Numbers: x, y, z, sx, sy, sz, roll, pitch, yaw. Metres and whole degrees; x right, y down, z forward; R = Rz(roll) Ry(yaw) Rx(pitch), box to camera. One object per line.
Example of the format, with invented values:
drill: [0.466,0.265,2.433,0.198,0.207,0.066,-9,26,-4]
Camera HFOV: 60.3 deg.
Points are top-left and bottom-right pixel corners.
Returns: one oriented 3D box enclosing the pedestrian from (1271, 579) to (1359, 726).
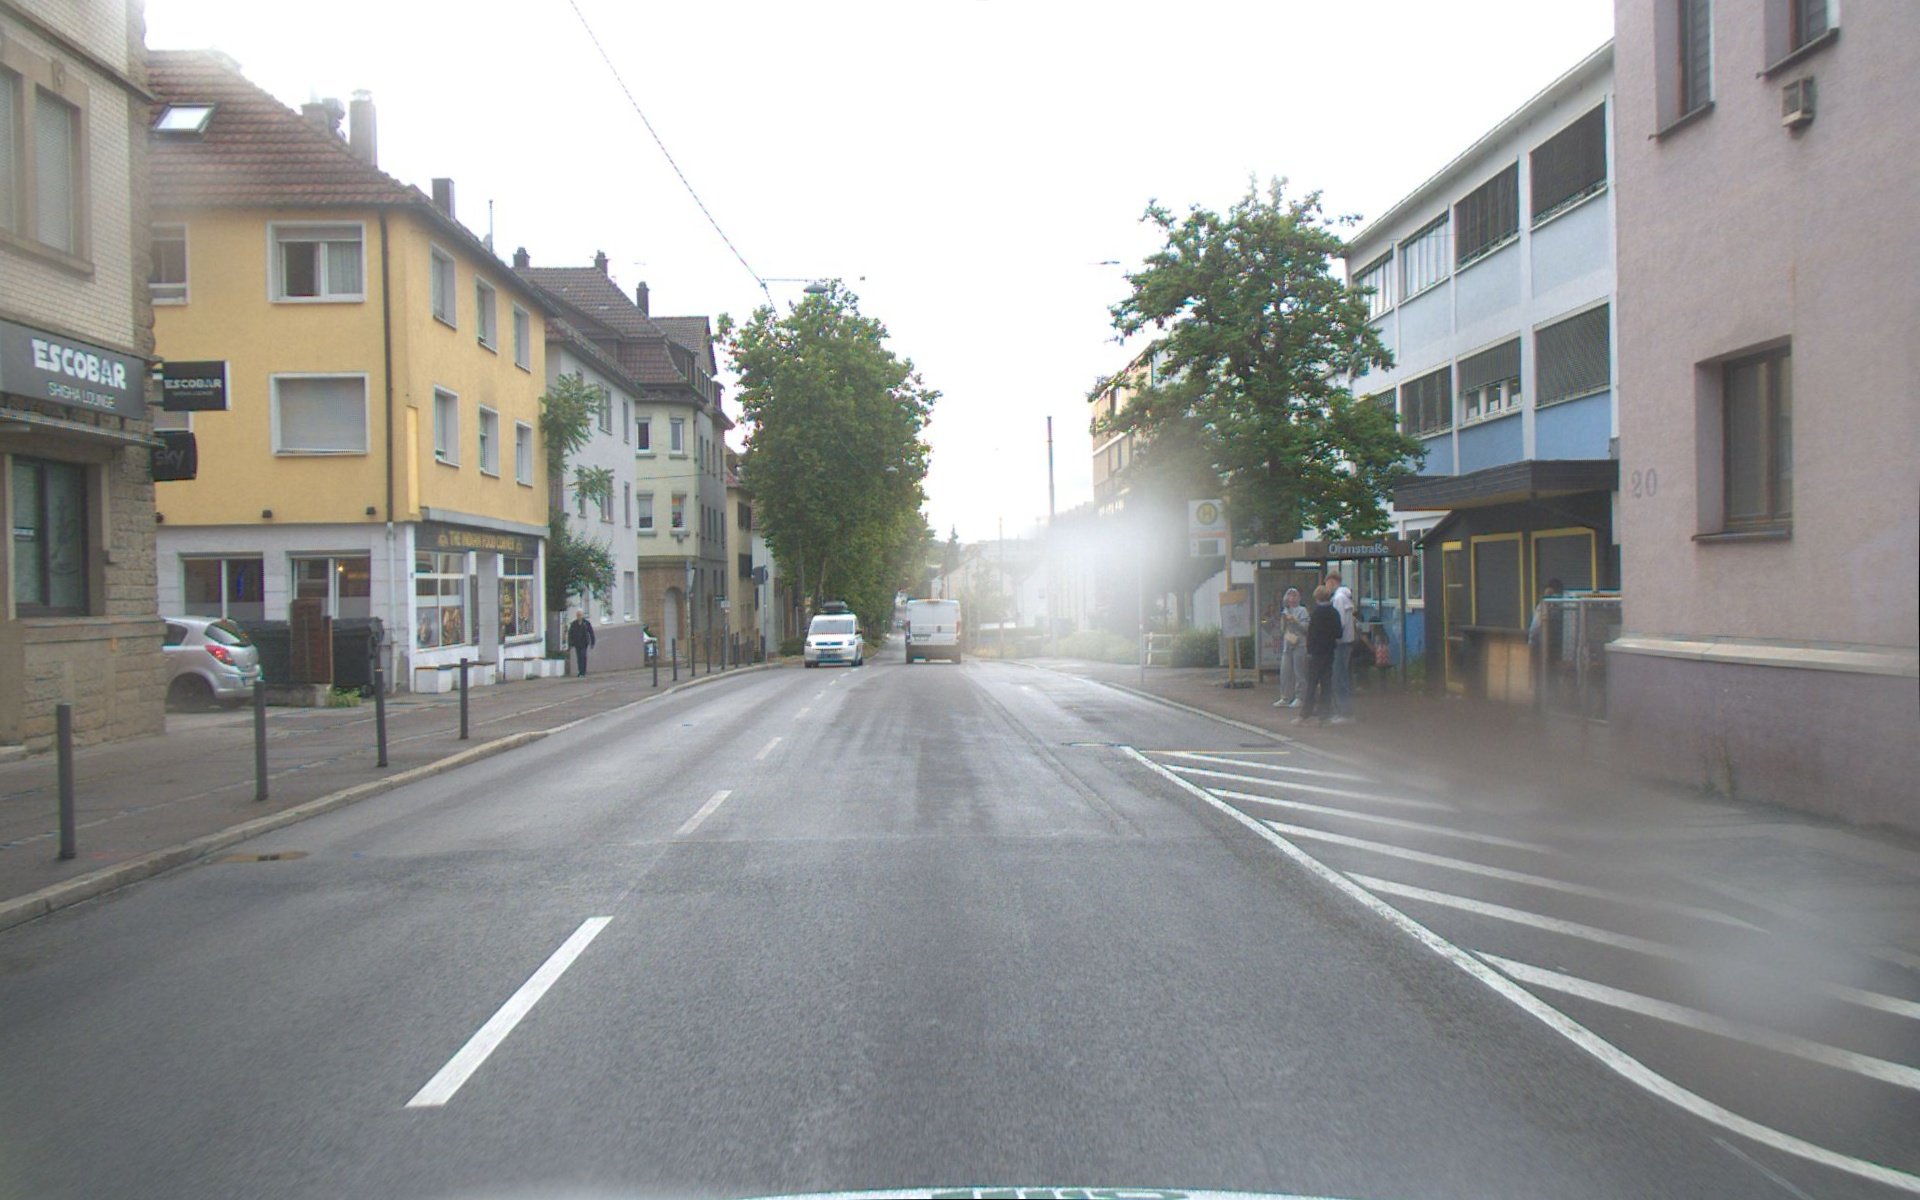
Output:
pedestrian: [4.376,0.644,20.394,0.629,1.740,0.740,-3,-1,-35]

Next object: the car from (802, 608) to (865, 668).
car: [-4.281,1.302,56.532,1.844,1.902,4.451,-2,-1,-1]

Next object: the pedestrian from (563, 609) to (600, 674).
pedestrian: [-10.053,1.100,43.918,0.799,1.709,0.992,0,-2,-4]

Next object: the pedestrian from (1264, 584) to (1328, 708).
pedestrian: [4.964,0.670,24.472,0.648,1.772,0.828,-2,-1,-7]

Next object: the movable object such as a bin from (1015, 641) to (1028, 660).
movable object such as a bin: [3.175,2.611,85.196,0.607,0.953,0.686,-4,-2,-1]

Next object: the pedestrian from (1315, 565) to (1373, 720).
pedestrian: [4.839,0.529,20.846,0.477,1.908,0.632,-4,-1,26]

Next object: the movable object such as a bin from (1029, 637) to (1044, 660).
movable object such as a bin: [3.937,2.506,85.381,0.681,1.101,0.778,-4,-2,-1]

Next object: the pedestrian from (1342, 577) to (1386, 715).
pedestrian: [5.218,0.591,21.381,0.437,1.737,0.558,-4,-1,12]

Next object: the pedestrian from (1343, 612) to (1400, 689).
pedestrian: [6.785,0.820,27.282,0.648,1.220,0.740,-2,-1,-7]

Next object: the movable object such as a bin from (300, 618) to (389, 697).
movable object such as a bin: [-11.374,1.053,30.592,1.275,1.427,0.983,0,-1,-2]

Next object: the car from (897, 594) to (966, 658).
car: [-1.094,0.912,60.589,2.300,2.198,4.774,-1,0,-4]

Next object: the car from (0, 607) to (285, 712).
car: [-12.617,0.897,25.623,3.494,1.512,1.946,1,0,-3]

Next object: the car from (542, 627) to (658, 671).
car: [-13.473,1.825,62.031,3.907,1.478,1.999,2,-1,-2]

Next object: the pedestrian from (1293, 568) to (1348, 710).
pedestrian: [4.889,0.529,22.435,0.450,1.872,0.603,-3,-1,-7]

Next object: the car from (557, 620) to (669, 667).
car: [-14.146,1.786,67.623,4.098,1.734,1.999,2,-1,-2]

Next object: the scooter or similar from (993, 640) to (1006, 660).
scooter or similar: [2.460,3.155,104.067,0.593,1.182,1.697,-1,-2,-6]

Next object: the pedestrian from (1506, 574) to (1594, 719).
pedestrian: [6.990,0.549,19.601,0.666,1.654,0.618,-3,-1,-30]

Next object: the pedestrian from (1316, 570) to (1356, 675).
pedestrian: [6.845,0.409,30.134,0.633,1.863,0.742,-2,-1,12]

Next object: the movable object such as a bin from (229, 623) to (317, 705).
movable object such as a bin: [-12.666,1.163,30.523,1.221,1.465,0.983,0,-1,-2]

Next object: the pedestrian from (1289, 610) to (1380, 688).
pedestrian: [6.517,0.844,28.808,1.329,1.295,0.740,-2,-1,-7]

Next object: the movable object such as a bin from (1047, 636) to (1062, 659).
movable object such as a bin: [4.893,2.451,85.463,0.681,1.101,0.778,-4,-2,-1]
